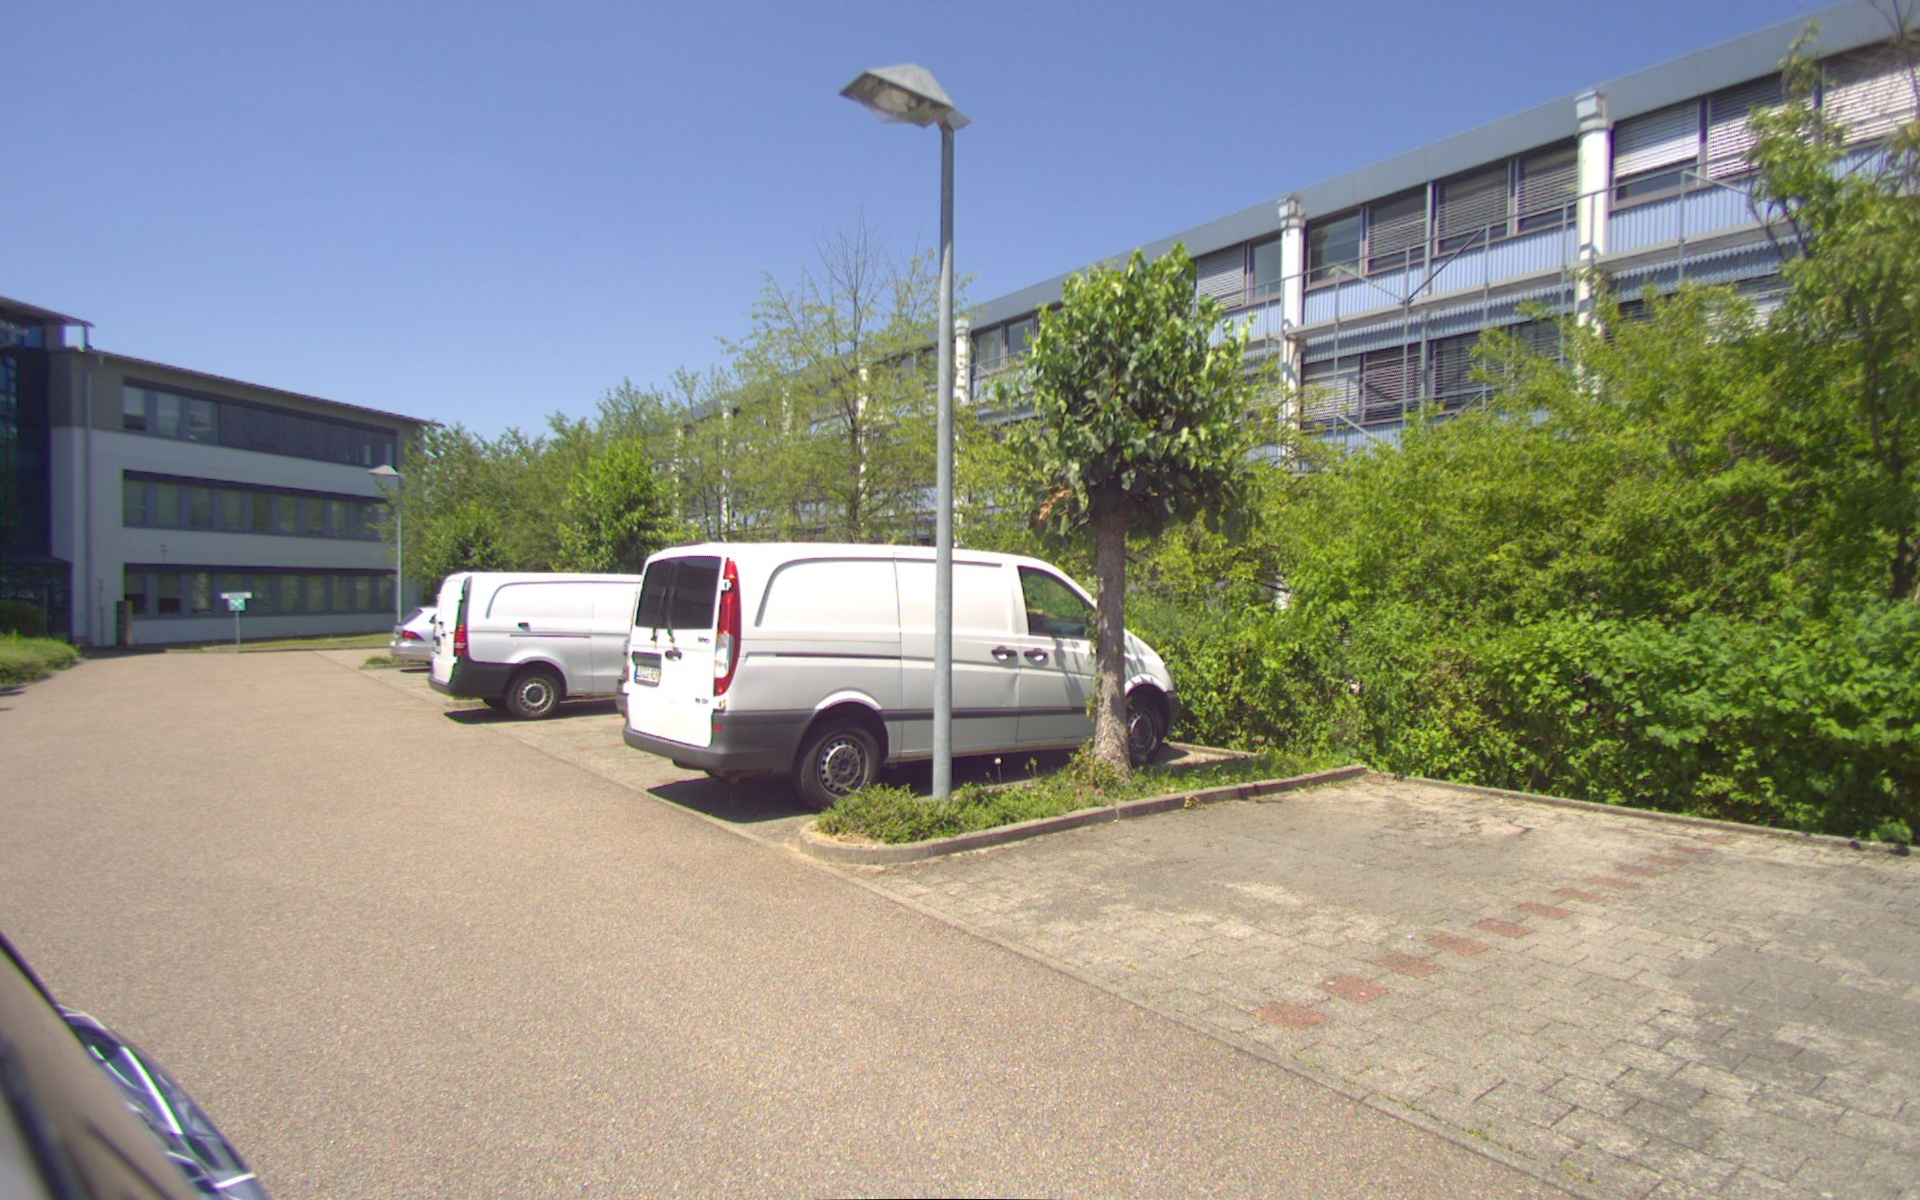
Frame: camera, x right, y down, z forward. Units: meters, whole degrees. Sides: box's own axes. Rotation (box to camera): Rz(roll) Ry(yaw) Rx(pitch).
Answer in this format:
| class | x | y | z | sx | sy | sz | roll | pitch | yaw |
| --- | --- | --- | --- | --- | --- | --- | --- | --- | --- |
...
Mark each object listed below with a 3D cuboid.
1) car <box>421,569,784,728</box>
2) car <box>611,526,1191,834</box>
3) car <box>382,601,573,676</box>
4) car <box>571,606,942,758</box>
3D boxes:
| class | x | y | z | sx | sy | sz | roll | pitch | yaw |
| --- | --- | --- | --- | --- | --- | --- | --- | --- | --- |
| car | -4.899 | 0.578 | 14.197 | 4.448 | 1.896 | 1.833 | 0 | 0 | -39 |
| car | -0.287 | 0.496 | 8.494 | 4.659 | 1.920 | 1.833 | 0 | 0 | -39 |
| car | -11.101 | 0.828 | 23.384 | 3.705 | 1.569 | 1.664 | 0 | 0 | -39 |
| car | -2.189 | 0.790 | 11.389 | 3.790 | 1.404 | 1.580 | 0 | 0 | -39 |
